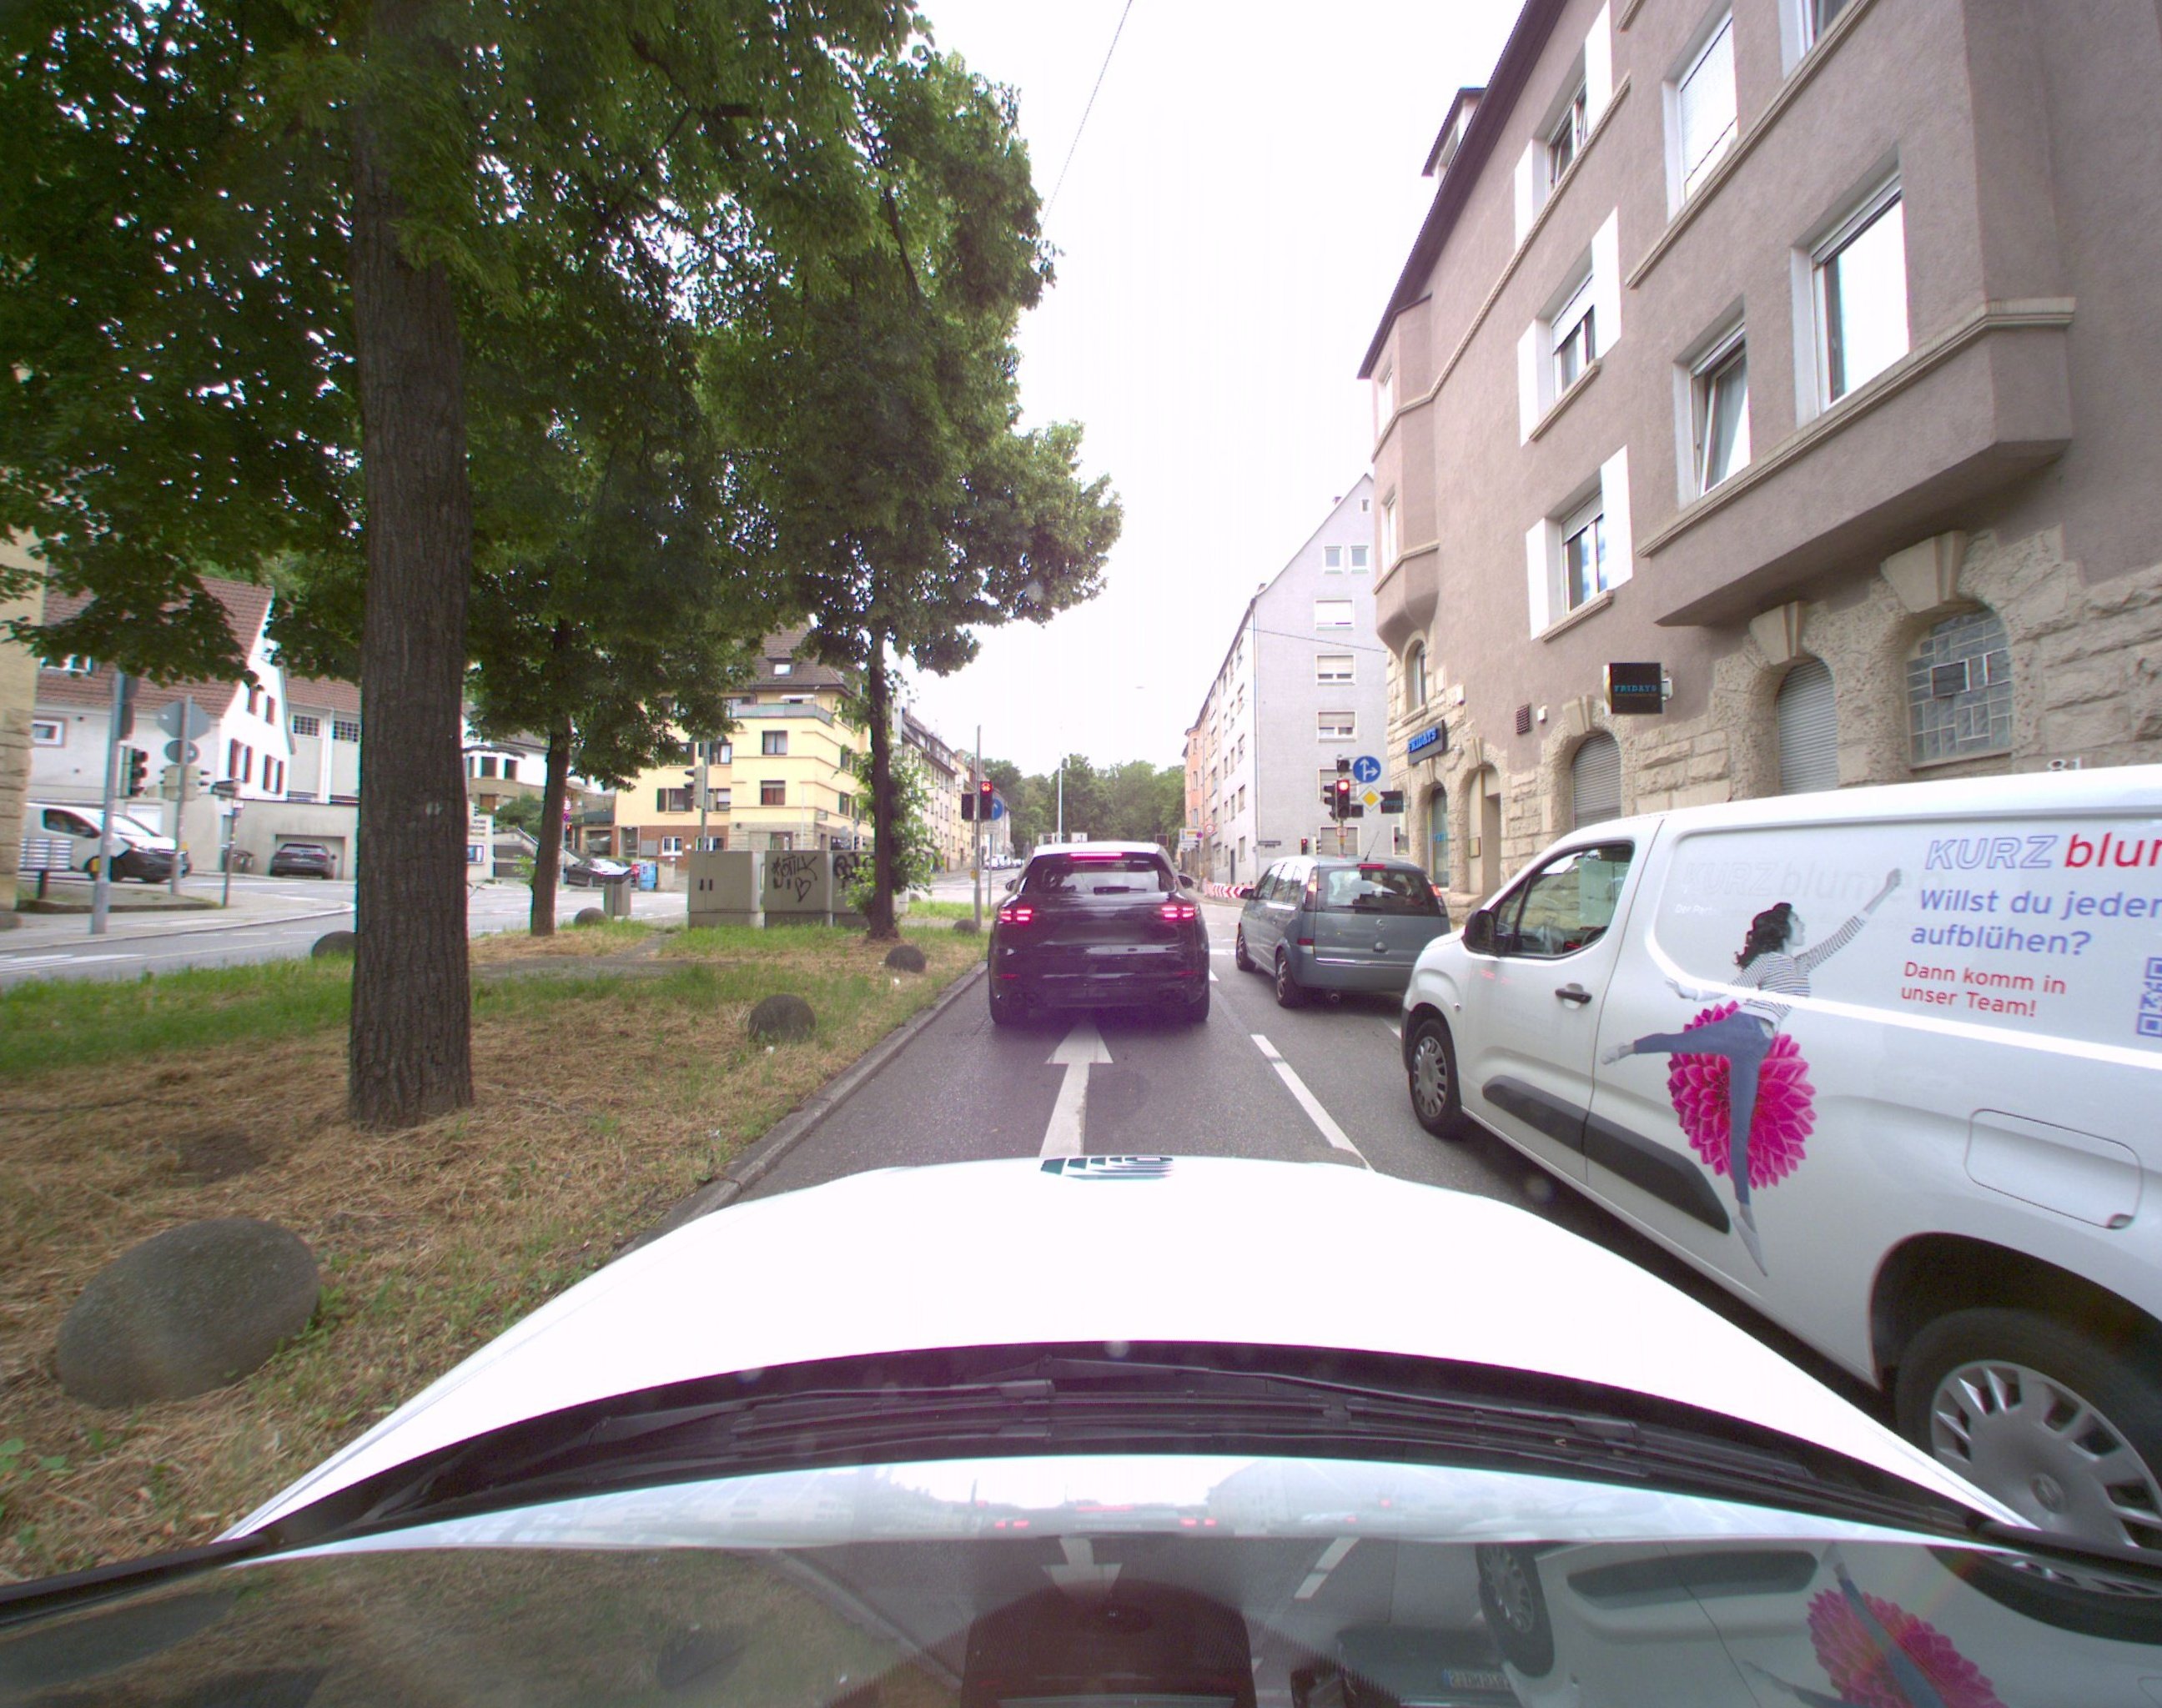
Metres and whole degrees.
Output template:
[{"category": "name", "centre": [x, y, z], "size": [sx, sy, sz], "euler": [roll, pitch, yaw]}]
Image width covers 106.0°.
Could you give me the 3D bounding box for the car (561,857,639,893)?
[{"category": "car", "centre": [-23.998, 1.060, 40.617], "size": [3.948, 1.665, 1.894], "euler": [-1, -2, 36]}]

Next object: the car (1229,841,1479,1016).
[{"category": "car", "centre": [2.945, 0.727, 9.620], "size": [1.746, 1.593, 3.631], "euler": [3, 0, 1]}]

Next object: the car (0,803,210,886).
[{"category": "car", "centre": [-27.231, -0.250, 21.601], "size": [5.186, 2.064, 1.982], "euler": [2, -1, -21]}]

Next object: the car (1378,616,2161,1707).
[{"category": "car", "centre": [2.783, 0.630, 3.300], "size": [1.840, 1.825, 5.029], "euler": [1, -2, 7]}]

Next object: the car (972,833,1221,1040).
[{"category": "car", "centre": [0.242, 0.663, 8.576], "size": [1.986, 1.653, 4.004], "euler": [-1, 0, 3]}]

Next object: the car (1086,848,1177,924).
[{"category": "car", "centre": [1.230, 0.730, 19.913], "size": [1.986, 1.653, 4.003], "euler": [-1, -1, 3]}]

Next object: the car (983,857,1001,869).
[{"category": "car", "centre": [-10.988, 1.074, 100.673], "size": [1.788, 1.510, 4.001], "euler": [0, 0, 1]}]

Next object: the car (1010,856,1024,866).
[{"category": "car", "centre": [-9.973, 1.067, 127.077], "size": [1.788, 1.510, 4.001], "euler": [0, 0, 1]}]

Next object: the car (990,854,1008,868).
[{"category": "car", "centre": [-10.588, 0.908, 105.693], "size": [1.788, 1.810, 4.001], "euler": [0, 0, 1]}]

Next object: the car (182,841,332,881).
[{"category": "car", "centre": [-32.511, 0.276, 32.319], "size": [4.021, 1.510, 1.779], "euler": [1, -1, -41]}]
